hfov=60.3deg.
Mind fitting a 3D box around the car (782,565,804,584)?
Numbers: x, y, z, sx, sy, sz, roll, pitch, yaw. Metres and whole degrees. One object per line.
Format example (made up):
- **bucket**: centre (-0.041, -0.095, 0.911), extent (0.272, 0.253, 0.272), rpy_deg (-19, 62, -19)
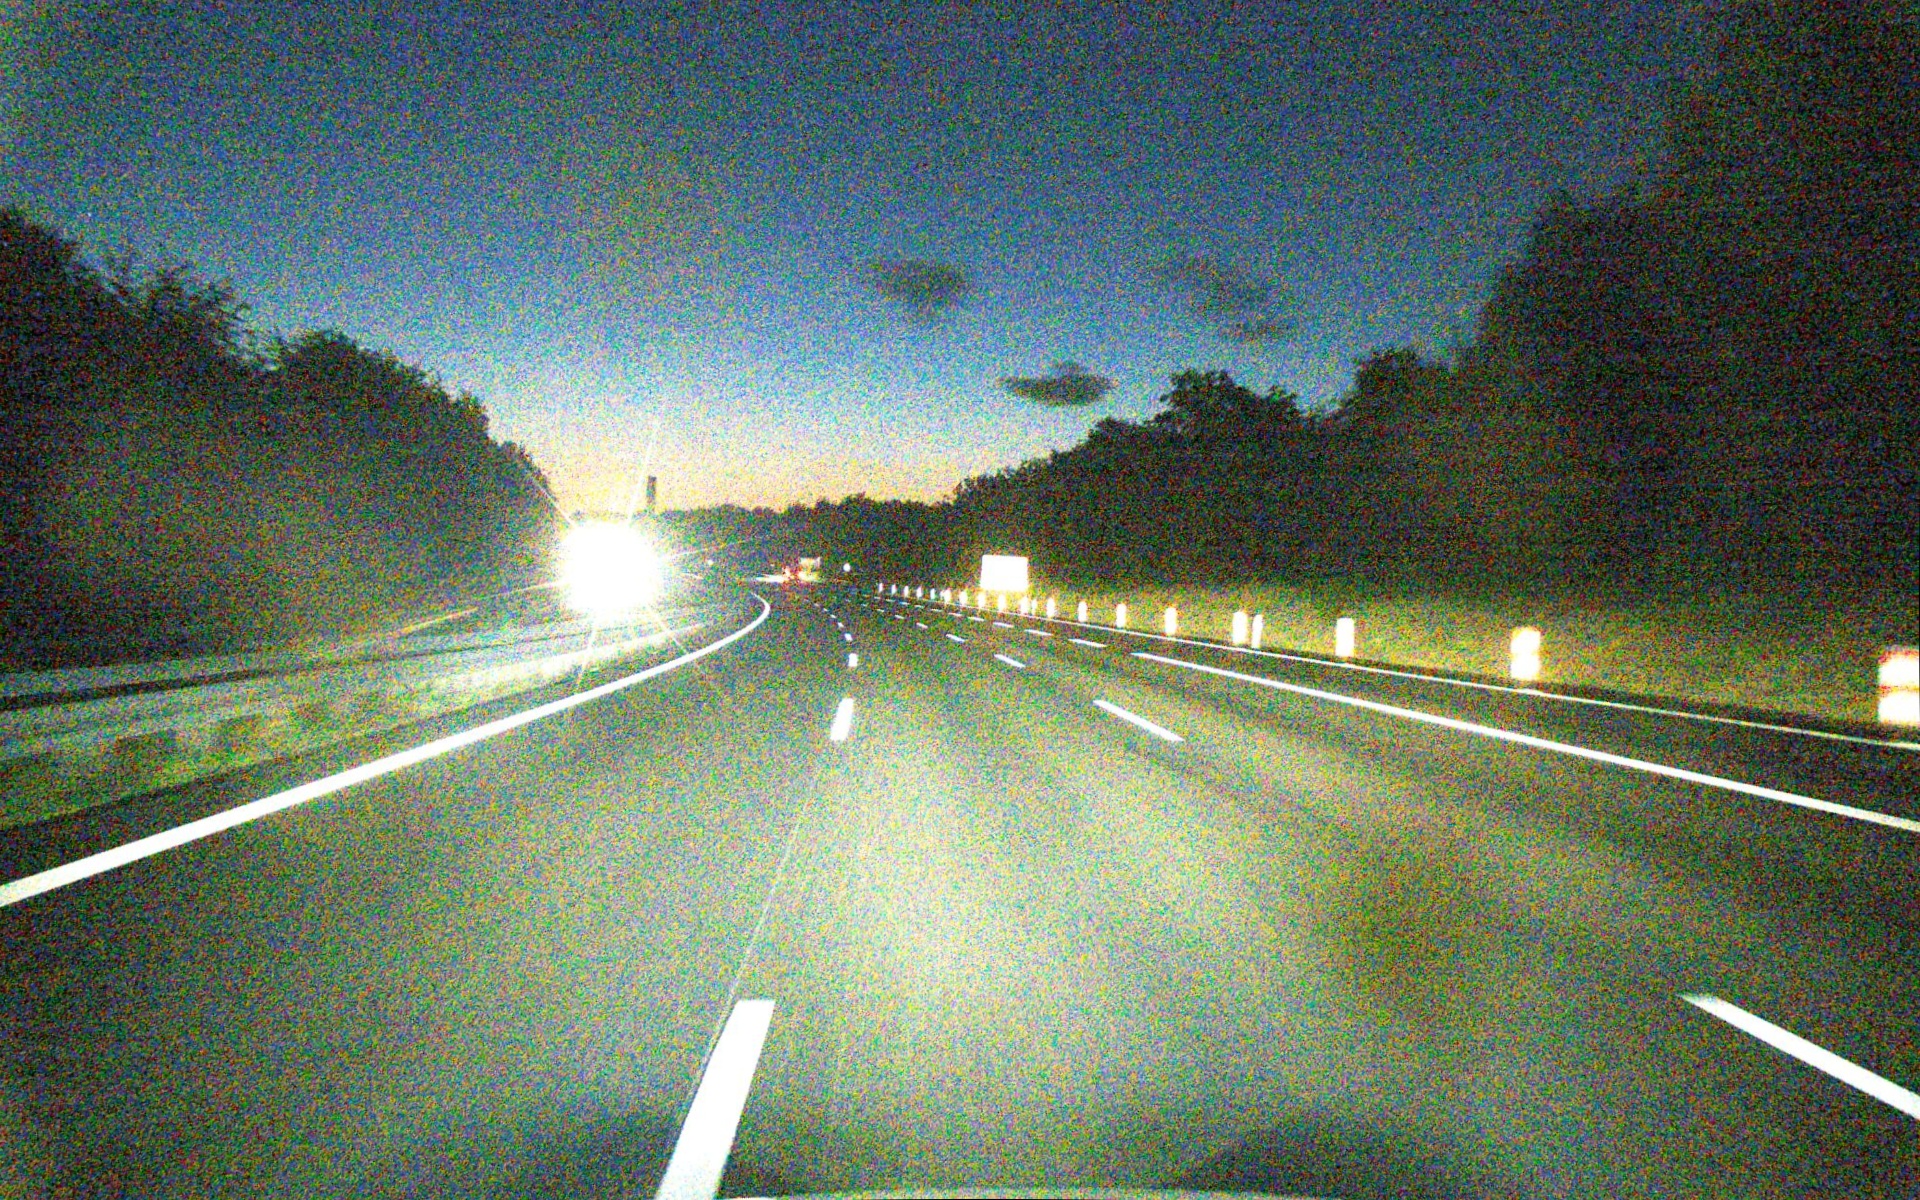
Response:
- **car**: centre (-23.874, -3.658, 236.333), extent (2.483, 2.597, 6.034), rpy_deg (3, 1, -12)
